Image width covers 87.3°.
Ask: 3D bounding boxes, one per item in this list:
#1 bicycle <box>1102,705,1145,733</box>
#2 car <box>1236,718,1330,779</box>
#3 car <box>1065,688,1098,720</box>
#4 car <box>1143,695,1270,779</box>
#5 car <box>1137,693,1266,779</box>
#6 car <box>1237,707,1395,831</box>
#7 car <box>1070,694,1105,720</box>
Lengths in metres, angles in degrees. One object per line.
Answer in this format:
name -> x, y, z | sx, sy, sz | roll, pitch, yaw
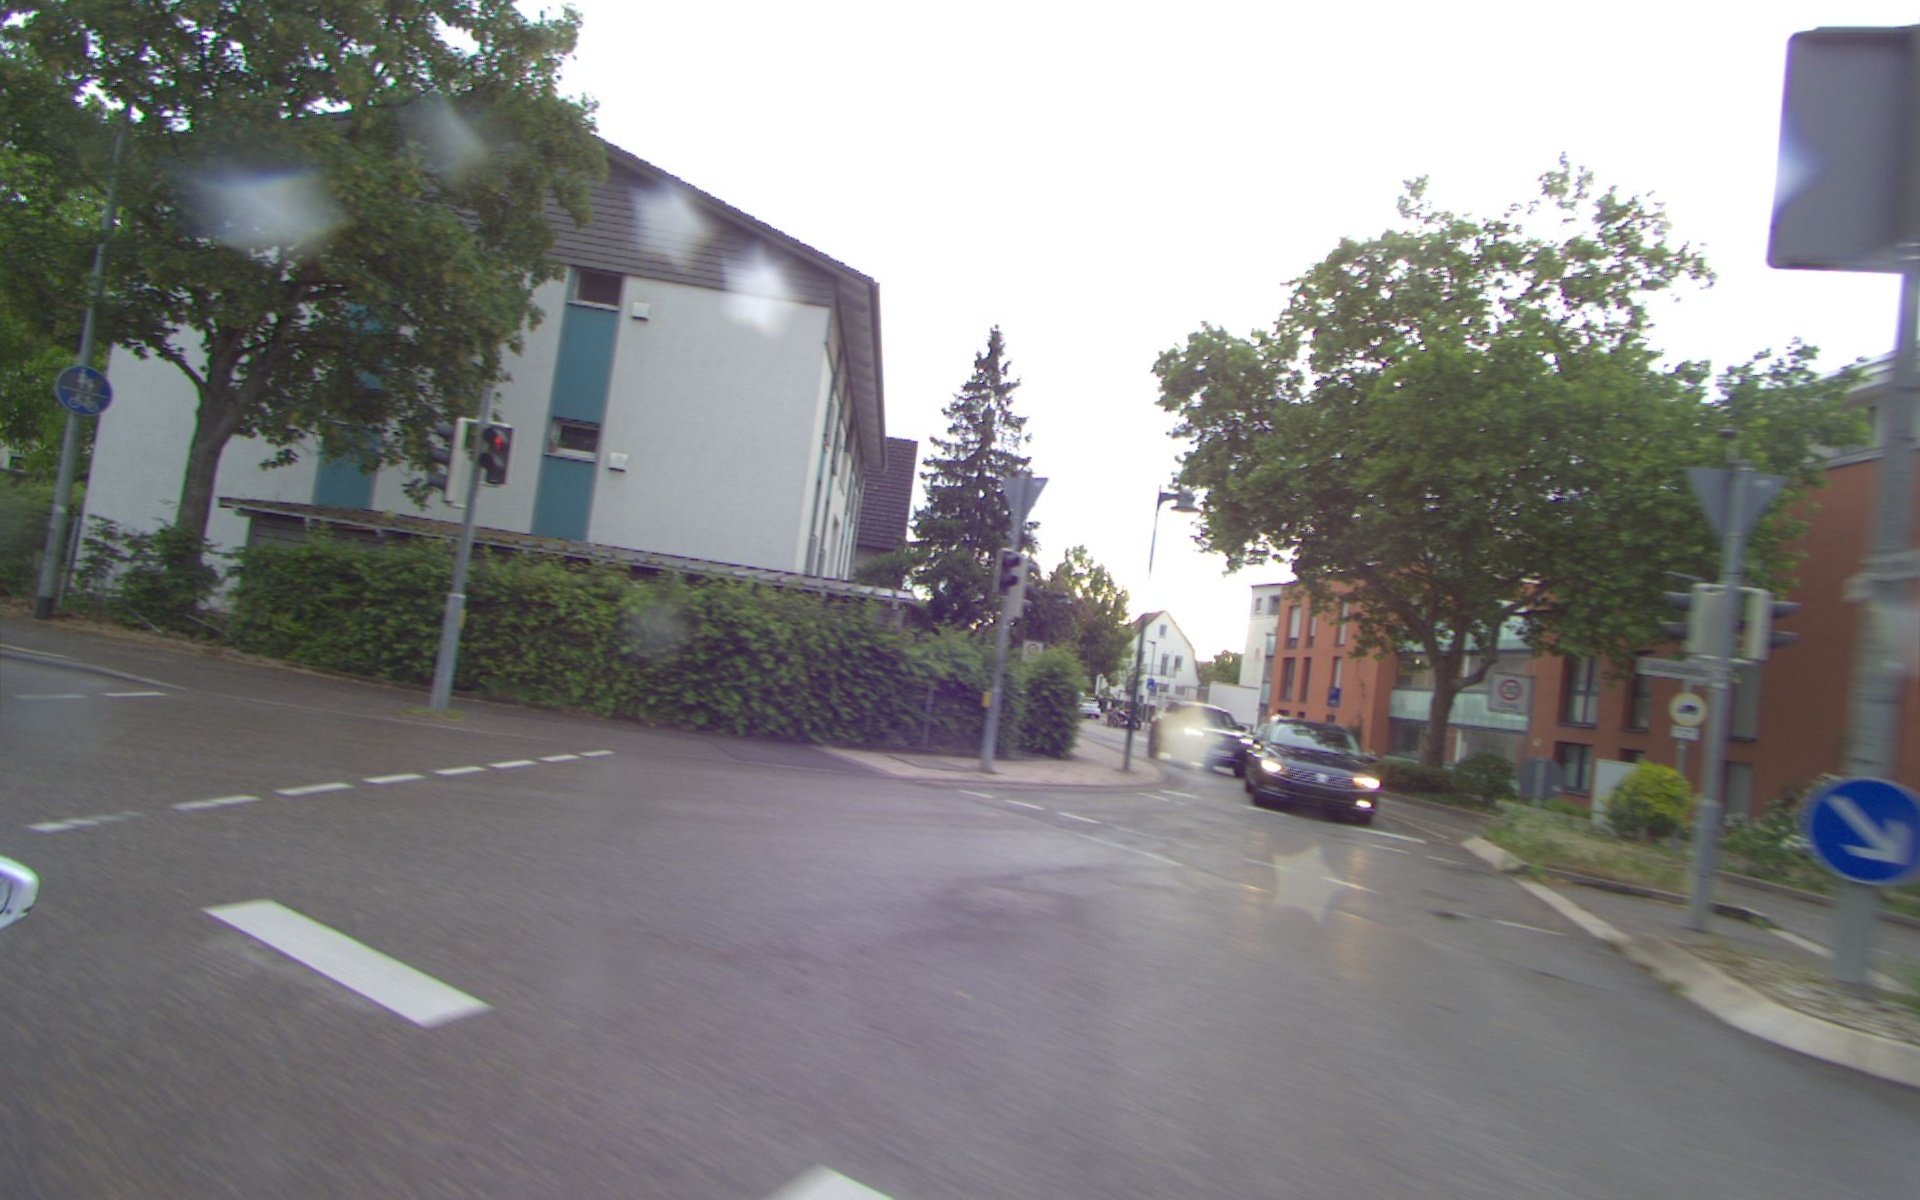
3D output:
bicycle -> 9.688, 7.046, 59.554 | 2.301, 1.236, 0.738 | 8, -2, 4
car -> 11.393, 5.207, 35.762 | 1.620, 1.529, 4.148 | 9, -3, -3
car -> 9.420, 8.027, 78.012 | 1.620, 2.039, 3.717 | 8, -3, -3
car -> 6.163, 3.409, 25.701 | 1.964, 1.586, 4.302 | 10, -4, 0
car -> 5.967, 3.343, 25.341 | 1.851, 1.685, 3.718 | 9, -5, -5
car -> 5.762, 2.714, 16.780 | 1.911, 1.466, 4.311 | 9, -5, 15
car -> 9.194, 7.694, 72.716 | 1.620, 1.390, 3.717 | 9, -3, -3
